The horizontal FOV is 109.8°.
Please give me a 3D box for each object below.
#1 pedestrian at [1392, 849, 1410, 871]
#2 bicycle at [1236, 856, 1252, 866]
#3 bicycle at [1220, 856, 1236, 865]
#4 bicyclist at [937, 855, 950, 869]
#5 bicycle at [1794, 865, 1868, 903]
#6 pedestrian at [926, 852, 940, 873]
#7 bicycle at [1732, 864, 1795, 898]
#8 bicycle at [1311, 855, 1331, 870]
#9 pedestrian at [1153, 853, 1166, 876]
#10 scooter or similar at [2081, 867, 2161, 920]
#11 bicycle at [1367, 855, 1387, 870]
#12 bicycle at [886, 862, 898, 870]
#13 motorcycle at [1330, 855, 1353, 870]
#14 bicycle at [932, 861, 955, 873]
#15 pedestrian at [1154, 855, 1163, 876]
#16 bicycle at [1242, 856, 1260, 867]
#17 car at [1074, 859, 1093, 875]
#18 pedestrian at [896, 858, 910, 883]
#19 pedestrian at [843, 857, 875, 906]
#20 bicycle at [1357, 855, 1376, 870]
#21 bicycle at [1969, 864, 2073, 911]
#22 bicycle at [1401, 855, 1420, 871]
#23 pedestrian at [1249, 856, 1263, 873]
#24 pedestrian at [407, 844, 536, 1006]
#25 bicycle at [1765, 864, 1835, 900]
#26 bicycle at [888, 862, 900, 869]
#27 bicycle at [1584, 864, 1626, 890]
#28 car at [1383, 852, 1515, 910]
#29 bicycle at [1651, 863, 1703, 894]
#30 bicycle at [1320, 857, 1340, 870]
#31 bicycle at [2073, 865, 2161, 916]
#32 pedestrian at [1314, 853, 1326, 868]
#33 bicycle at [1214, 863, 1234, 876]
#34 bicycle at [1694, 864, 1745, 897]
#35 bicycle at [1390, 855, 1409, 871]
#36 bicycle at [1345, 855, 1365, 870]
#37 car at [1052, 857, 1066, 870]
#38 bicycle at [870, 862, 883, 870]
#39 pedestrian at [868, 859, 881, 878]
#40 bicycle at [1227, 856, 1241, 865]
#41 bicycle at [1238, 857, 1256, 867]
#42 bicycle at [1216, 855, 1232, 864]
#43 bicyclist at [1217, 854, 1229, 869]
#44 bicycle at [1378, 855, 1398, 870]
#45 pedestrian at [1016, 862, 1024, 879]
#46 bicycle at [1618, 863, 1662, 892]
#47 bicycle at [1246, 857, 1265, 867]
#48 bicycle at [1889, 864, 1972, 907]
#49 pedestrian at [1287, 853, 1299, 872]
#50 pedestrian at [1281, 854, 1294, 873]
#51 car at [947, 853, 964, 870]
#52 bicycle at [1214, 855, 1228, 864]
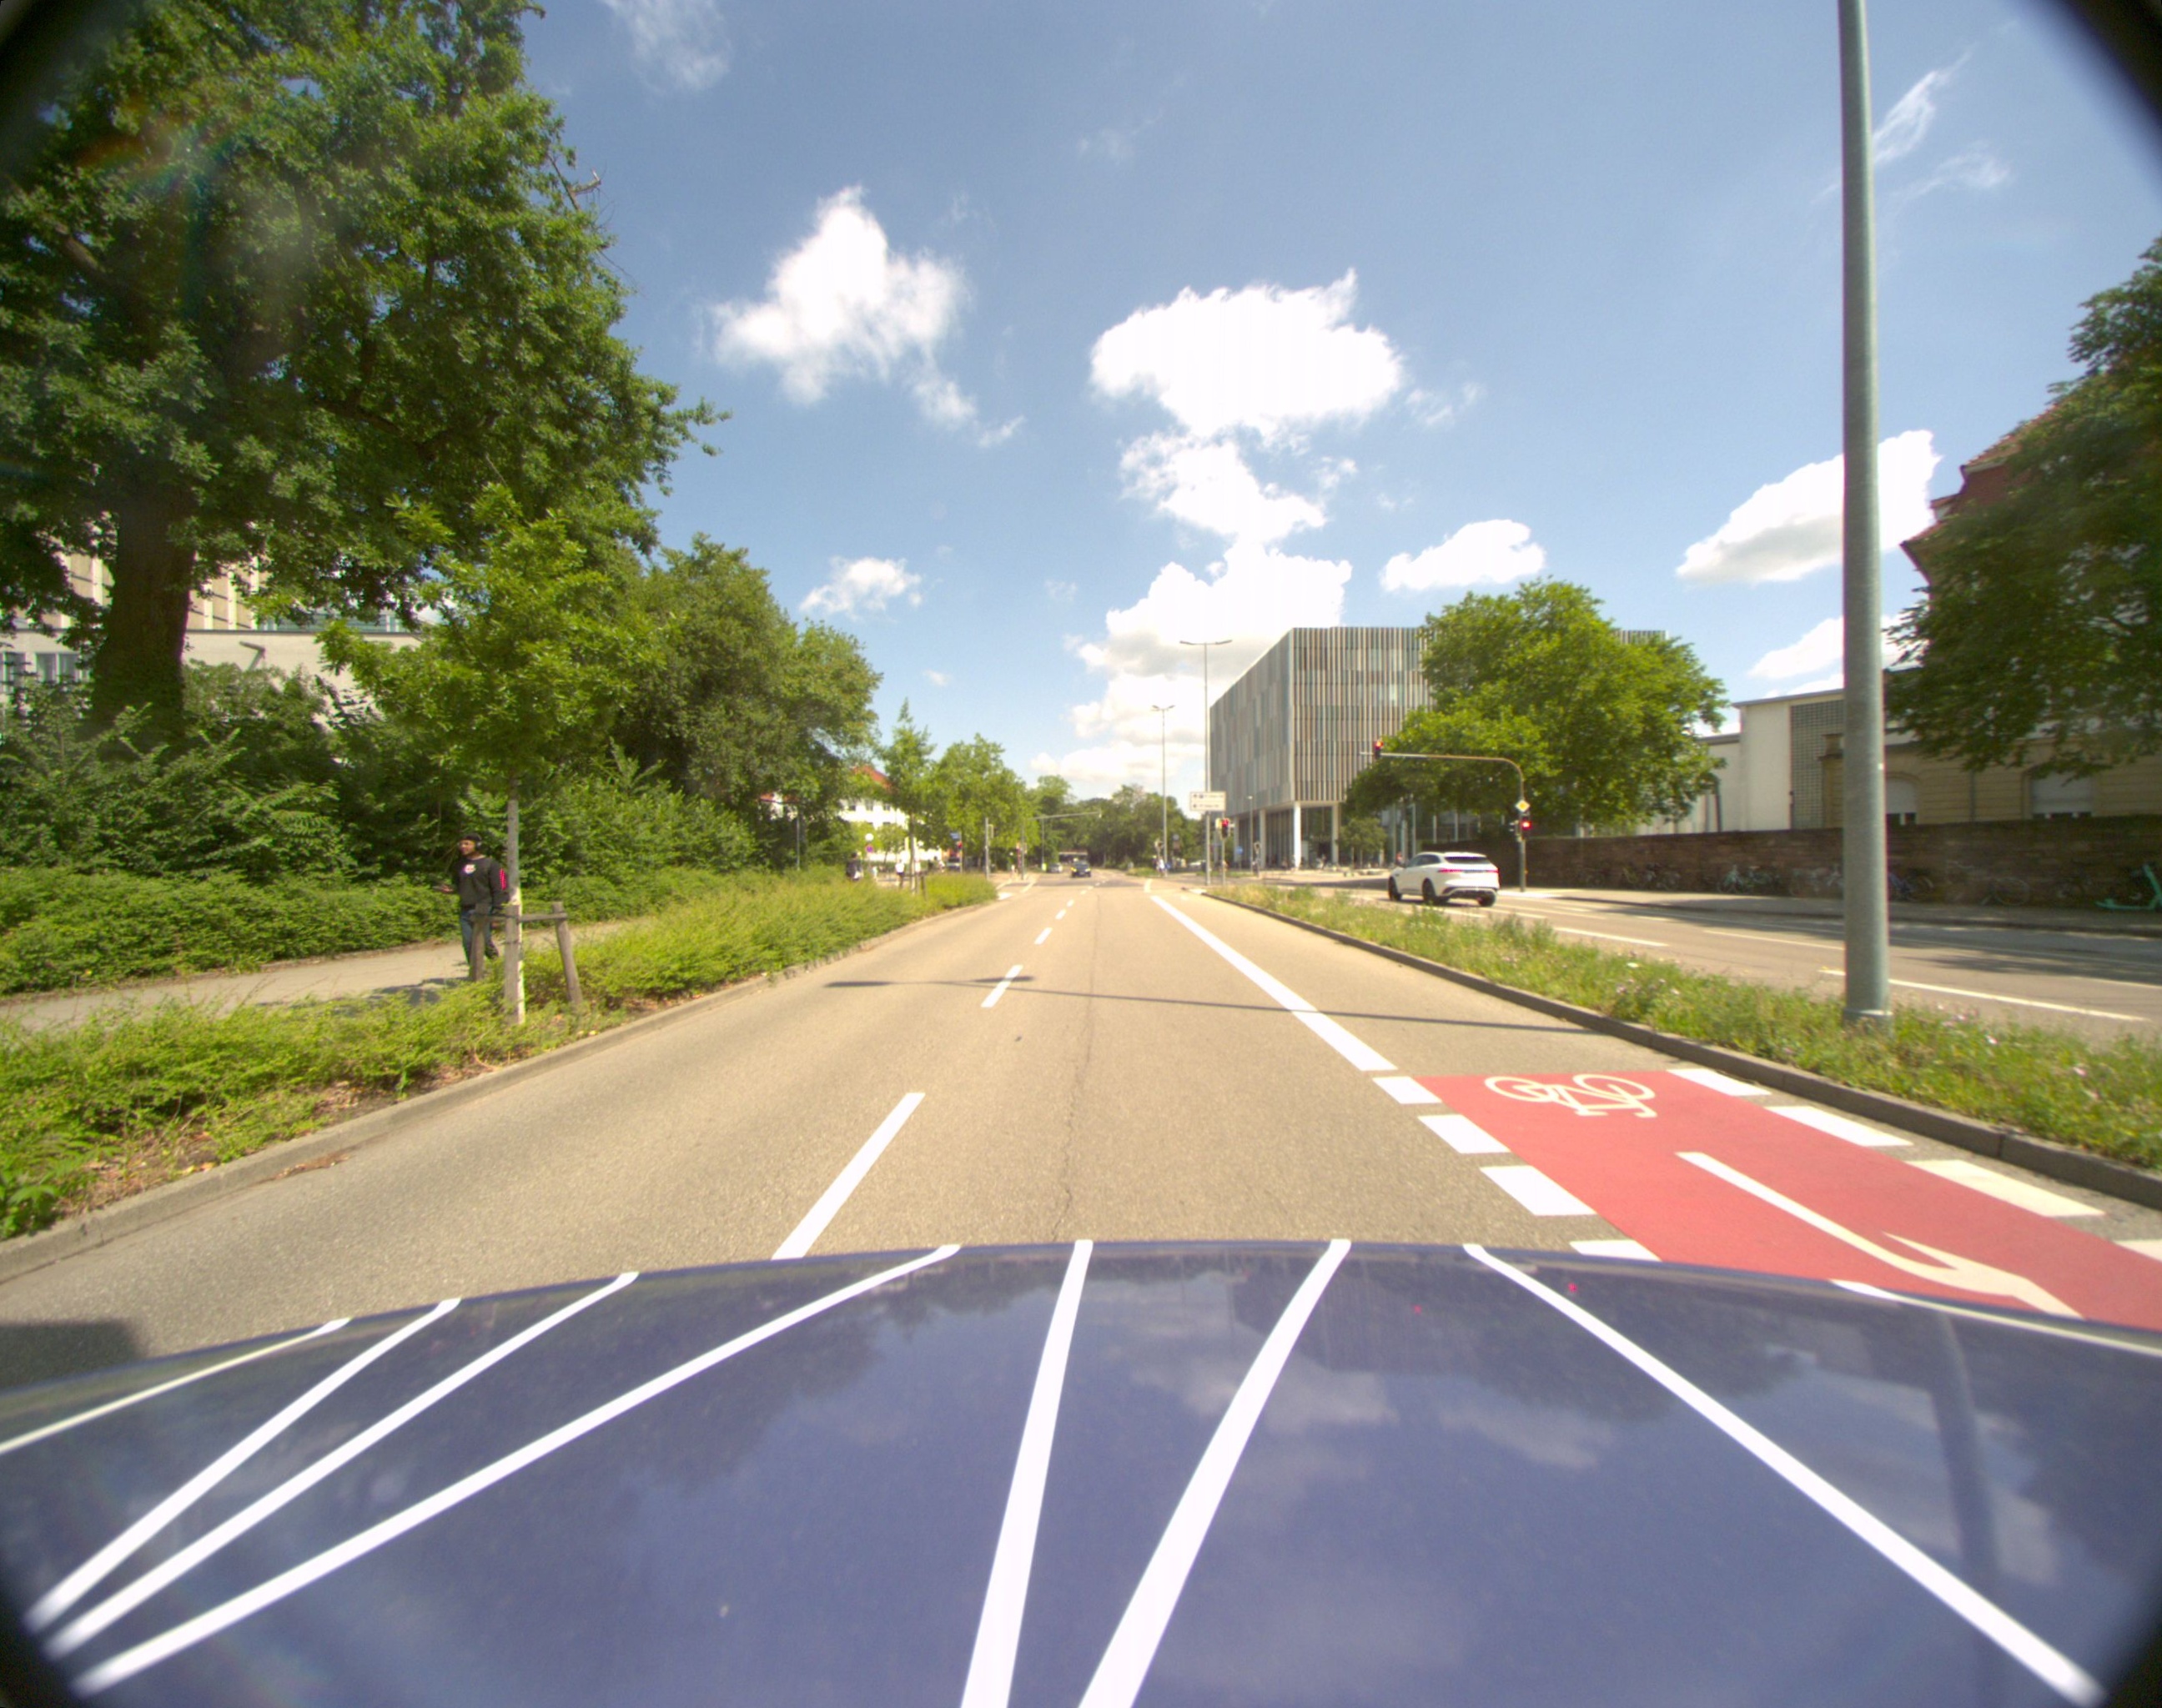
[{"bbox_3d":[28.158,0.494,66.865,1.109,1.914,0.971,-1,1,-8],"label":"pedestrian"},{"bbox_3d":[24.401,1.094,113.807,2.200,1.486,0.621,-1,0,1],"label":"bicycle"},{"bbox_3d":[23.921,1.005,123.824,2.511,1.486,0.621,-1,0,1],"label":"bicycle"},{"bbox_3d":[-14.131,0.792,77.889,1.075,1.436,0.972,-1,0,6],"label":"bicyclist"},{"bbox_3d":[23.461,0.906,23.786,0.403,1.145,1.590,-1,0,-32],"label":"bicycle"},{"bbox_3d":[-13.807,0.824,70.989,1.030,1.914,0.972,-1,1,9],"label":"pedestrian"},{"bbox_3d":[23.347,0.904,26.019,0.403,1.145,1.591,-1,0,-22],"label":"bicycle"},{"bbox_3d":[26.987,0.966,85.395,0.808,1.634,3.422,0,0,42],"label":"bicycle"},{"bbox_3d":[6.774,0.913,65.753,1.108,1.914,0.972,-1,1,5],"label":"pedestrian"},{"bbox_3d":[23.871,0.876,17.344,0.433,1.145,1.191,-1,0,-20],"label":"scooter or similar"},{"bbox_3d":[31.479,0.916,80.792,0.997,1.543,3.422,0,0,37],"label":"bicycle"},{"bbox_3d":[-23.139,1.435,93.112,1.428,0.945,0.352,-1,0,-5],"label":"bicycle"},{"bbox_3d":[28.707,0.942,83.697,3.305,1.630,0.969,0,0,-45],"label":"motorcycle"},{"bbox_3d":[-14.084,1.341,77.873,2.163,1.244,0.886,-1,0,6],"label":"bicycle"},{"bbox_3d":[6.794,0.976,66.675,0.646,1.815,0.689,0,0,1],"label":"pedestrian"},{"bbox_3d":[24.977,1.109,111.605,2.511,1.486,0.621,-1,0,1],"label":"bicycle"},{"bbox_3d":[0.202,1.284,76.973,1.846,1.593,3.999,-1,0,-1],"label":"car"},{"bbox_3d":[-13.474,1.258,57.457,0.878,1.861,0.971,-1,0,-3],"label":"pedestrian"},{"bbox_3d":[-7.863,0.961,26.962,0.815,1.711,0.930,-1,1,2],"label":"pedestrian"},{"bbox_3d":[30.708,0.915,81.679,0.997,1.543,3.422,0,0,37],"label":"bicycle"},{"bbox_3d":[23.943,0.822,19.388,0.534,1.145,1.591,-1,0,-21],"label":"bicycle"},{"bbox_3d":[33.788,0.924,77.899,0.997,1.543,3.422,0,0,37],"label":"bicycle"},{"bbox_3d":[16.980,0.973,73.712,0.972,1.619,0.878,-1,0,-12],"label":"pedestrian"},{"bbox_3d":[-6.785,0.756,8.499,0.718,1.711,0.837,-1,1,2],"label":"pedestrian"},{"bbox_3d":[23.444,0.897,24.800,0.403,1.145,1.590,-1,0,-32],"label":"bicycle"},{"bbox_3d":[-23.207,1.435,94.203,1.428,0.945,0.352,-1,0,-5],"label":"bicycle"},{"bbox_3d":[22.615,0.990,32.801,0.573,1.092,1.593,-1,0,-7],"label":"bicycle"},{"bbox_3d":[11.601,0.796,24.384,2.076,1.657,4.776,-1,0,2],"label":"car"},{"bbox_3d":[22.998,0.940,29.342,0.623,1.145,1.593,-1,0,-7],"label":"bicycle"},{"bbox_3d":[27.749,1.049,84.656,2.693,1.485,0.930,-1,0,-44],"label":"bicycle"},{"bbox_3d":[24.409,0.834,17.644,0.534,1.145,1.591,-1,0,-21],"label":"bicycle"},{"bbox_3d":[28.807,0.772,91.559,1.011,1.697,1.213,-1,0,35],"label":"pedestrian"},{"bbox_3d":[11.682,1.280,62.018,0.645,0.992,2.168,0,0,37],"label":"bicycle"},{"bbox_3d":[23.256,0.956,27.716,0.413,1.145,1.593,-1,0,-4],"label":"bicycle"},{"bbox_3d":[32.962,0.924,78.672,0.997,1.543,3.422,0,0,37],"label":"bicycle"},{"bbox_3d":[29.819,0.912,82.723,1.049,1.543,3.422,0,0,37],"label":"bicycle"},{"bbox_3d":[-3.108,1.325,108.327,1.913,1.772,3.999,-1,0,-3],"label":"car"},{"bbox_3d":[-25.137,1.461,93.375,1.428,0.945,0.352,-1,0,-5],"label":"bicycle"},{"bbox_3d":[-17.562,1.251,64.688,1.064,1.588,0.971,-1,0,-14],"label":"pedestrian"},{"bbox_3d":[24.219,1.036,120.145,2.071,1.486,0.621,-1,0,1],"label":"bicycle"},{"bbox_3d":[24.228,1.125,110.712,2.511,1.486,0.621,-1,0,1],"label":"bicycle"},{"bbox_3d":[23.883,0.979,126.587,2.511,1.486,0.621,-1,0,1],"label":"bicycle"},{"bbox_3d":[11.538,0.610,61.817,0.617,1.219,0.835,0,0,36],"label":"bicyclist"},{"bbox_3d":[32.297,0.920,79.862,0.997,1.543,3.422,0,0,37],"label":"bicycle"},{"bbox_3d":[-5.325,1.436,66.336,0.591,1.495,0.416,-1,1,-18],"label":"pedestrian"},{"bbox_3d":[22.809,0.939,31.035,0.500,1.145,1.593,-1,0,-7],"label":"bicycle"},{"bbox_3d":[24.795,1.144,108.026,2.509,1.486,0.730,-1,0,11],"label":"bicycle"},{"bbox_3d":[23.894,0.865,21.404,0.403,1.145,1.593,-1,0,-11],"label":"bicycle"},{"bbox_3d":[21.381,0.893,76.562,0.969,1.914,0.880,-1,1,27],"label":"pedestrian"},{"bbox_3d":[20.290,0.927,74.538,0.969,1.914,0.881,0,1,35],"label":"pedestrian"},{"bbox_3d":[-15.385,0.878,93.307,2.000,2.042,4.226,-1,0,-7],"label":"car"},{"bbox_3d":[23.855,0.952,129.506,2.302,1.486,0.657,-1,0,1],"label":"bicycle"}]
